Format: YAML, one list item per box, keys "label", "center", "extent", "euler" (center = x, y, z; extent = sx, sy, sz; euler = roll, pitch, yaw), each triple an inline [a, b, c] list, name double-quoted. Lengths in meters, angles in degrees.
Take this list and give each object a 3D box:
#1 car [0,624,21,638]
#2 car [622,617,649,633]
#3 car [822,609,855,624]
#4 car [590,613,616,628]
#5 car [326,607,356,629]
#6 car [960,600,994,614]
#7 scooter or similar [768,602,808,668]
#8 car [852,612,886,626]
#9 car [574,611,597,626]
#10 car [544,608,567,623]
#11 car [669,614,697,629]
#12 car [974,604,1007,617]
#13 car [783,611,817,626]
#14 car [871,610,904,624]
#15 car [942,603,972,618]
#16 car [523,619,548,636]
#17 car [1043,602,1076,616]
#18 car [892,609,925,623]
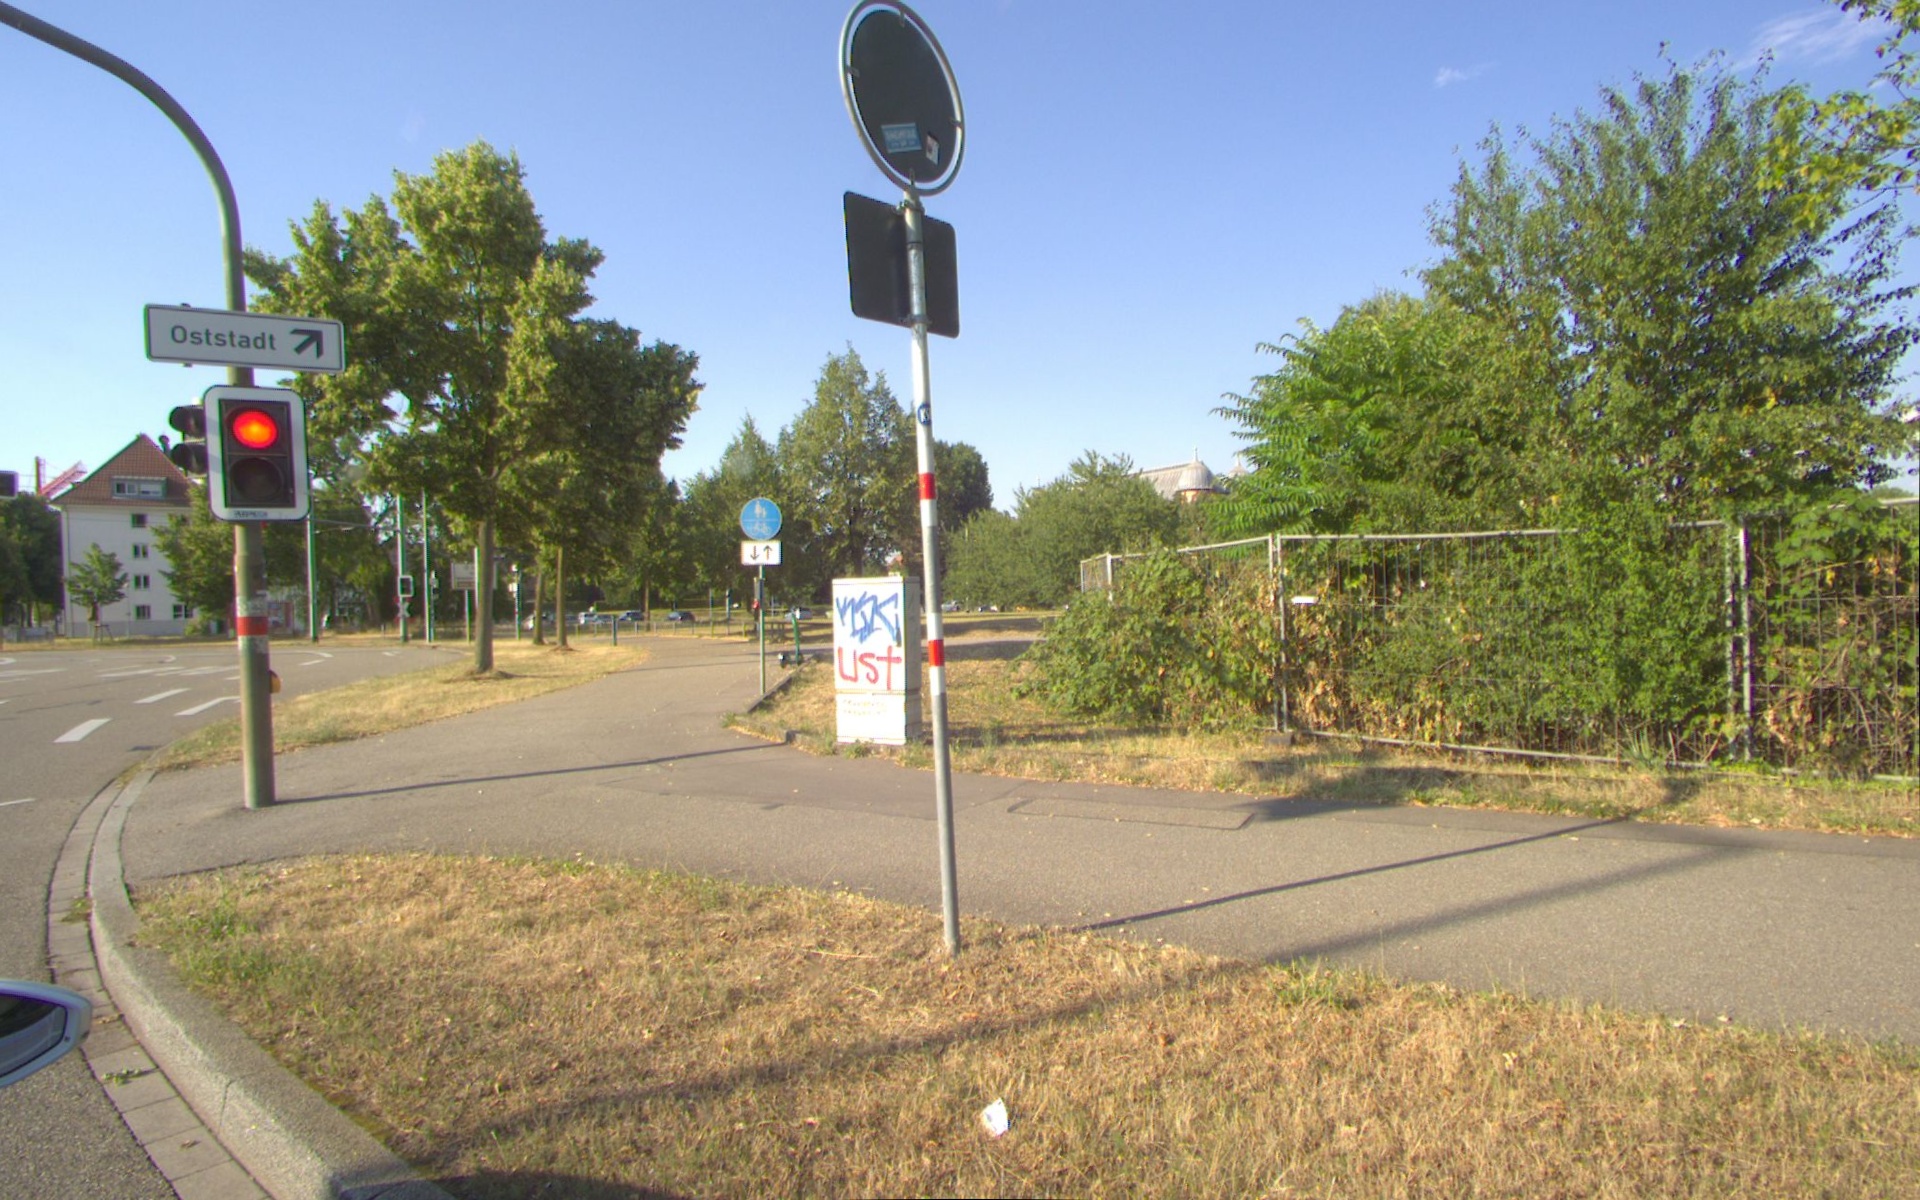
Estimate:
- label: "car"
  center: [-118.837, 3.891, 124.713]
  extent: [1.973, 1.803, 3.977]
  euler: [1, -2, -33]
- label: "car"
  center: [-29.404, 2.253, 90.609]
  extent: [1.583, 1.420, 3.950]
  euler: [-1, 0, -29]
- label: "car"
  center: [-12.483, 1.728, 102.873]
  extent: [1.803, 1.421, 3.976]
  euler: [-1, -1, -33]
- label: "car"
  center: [-32.015, 1.849, 89.815]
  extent: [1.583, 1.237, 3.950]
  euler: [-1, -1, -29]
- label: "car"
  center: [-48.161, 1.403, 77.998]
  extent: [1.751, 1.639, 3.950]
  euler: [-1, 0, -29]
- label: "car"
  center: [1.845, 0.814, 111.361]
  extent: [1.803, 1.421, 3.976]
  euler: [-1, -1, -33]
- label: "scooter or similar"
  center: [-3.290, 0.657, 19.225]
  extent: [0.336, 1.175, 1.169]
  euler: [-4, 2, 8]
- label: "car"
  center: [-9.461, 1.994, 104.189]
  extent: [1.802, 1.421, 3.976]
  euler: [-3, 1, -33]
- label: "car"
  center: [-37.221, 1.831, 99.571]
  extent: [1.583, 1.420, 3.950]
  euler: [-1, 0, -29]
- label: "car"
  center: [-39.556, 1.529, 97.863]
  extent: [1.583, 1.420, 3.950]
  euler: [-1, 0, -29]
- label: "car"
  center: [-25.677, 2.033, 92.771]
  extent: [1.583, 1.327, 3.950]
  euler: [-1, -1, -29]
- label: "car"
  center: [3.424, 1.205, 113.315]
  extent: [1.803, 1.421, 3.976]
  euler: [-1, -1, -33]
- label: "car"
  center: [-15.987, 1.812, 99.904]
  extent: [1.803, 1.421, 3.976]
  euler: [-1, -1, -33]
- label: "car"
  center: [-7.648, 1.834, 105.434]
  extent: [1.803, 1.421, 3.976]
  euler: [-1, -1, -33]
- label: "car"
  center: [-0.351, 1.315, 123.740]
  extent: [1.803, 1.694, 3.976]
  euler: [-1, 0, -33]
- label: "car"
  center: [-36.675, 2.386, 86.494]
  extent: [1.583, 1.420, 3.950]
  euler: [-1, 0, -29]
- label: "car"
  center: [11.772, 1.069, 118.575]
  extent: [1.803, 1.589, 3.976]
  euler: [-1, 0, -33]
- label: "car"
  center: [-5.498, 1.712, 106.856]
  extent: [1.803, 1.421, 3.976]
  euler: [-1, -1, -33]
